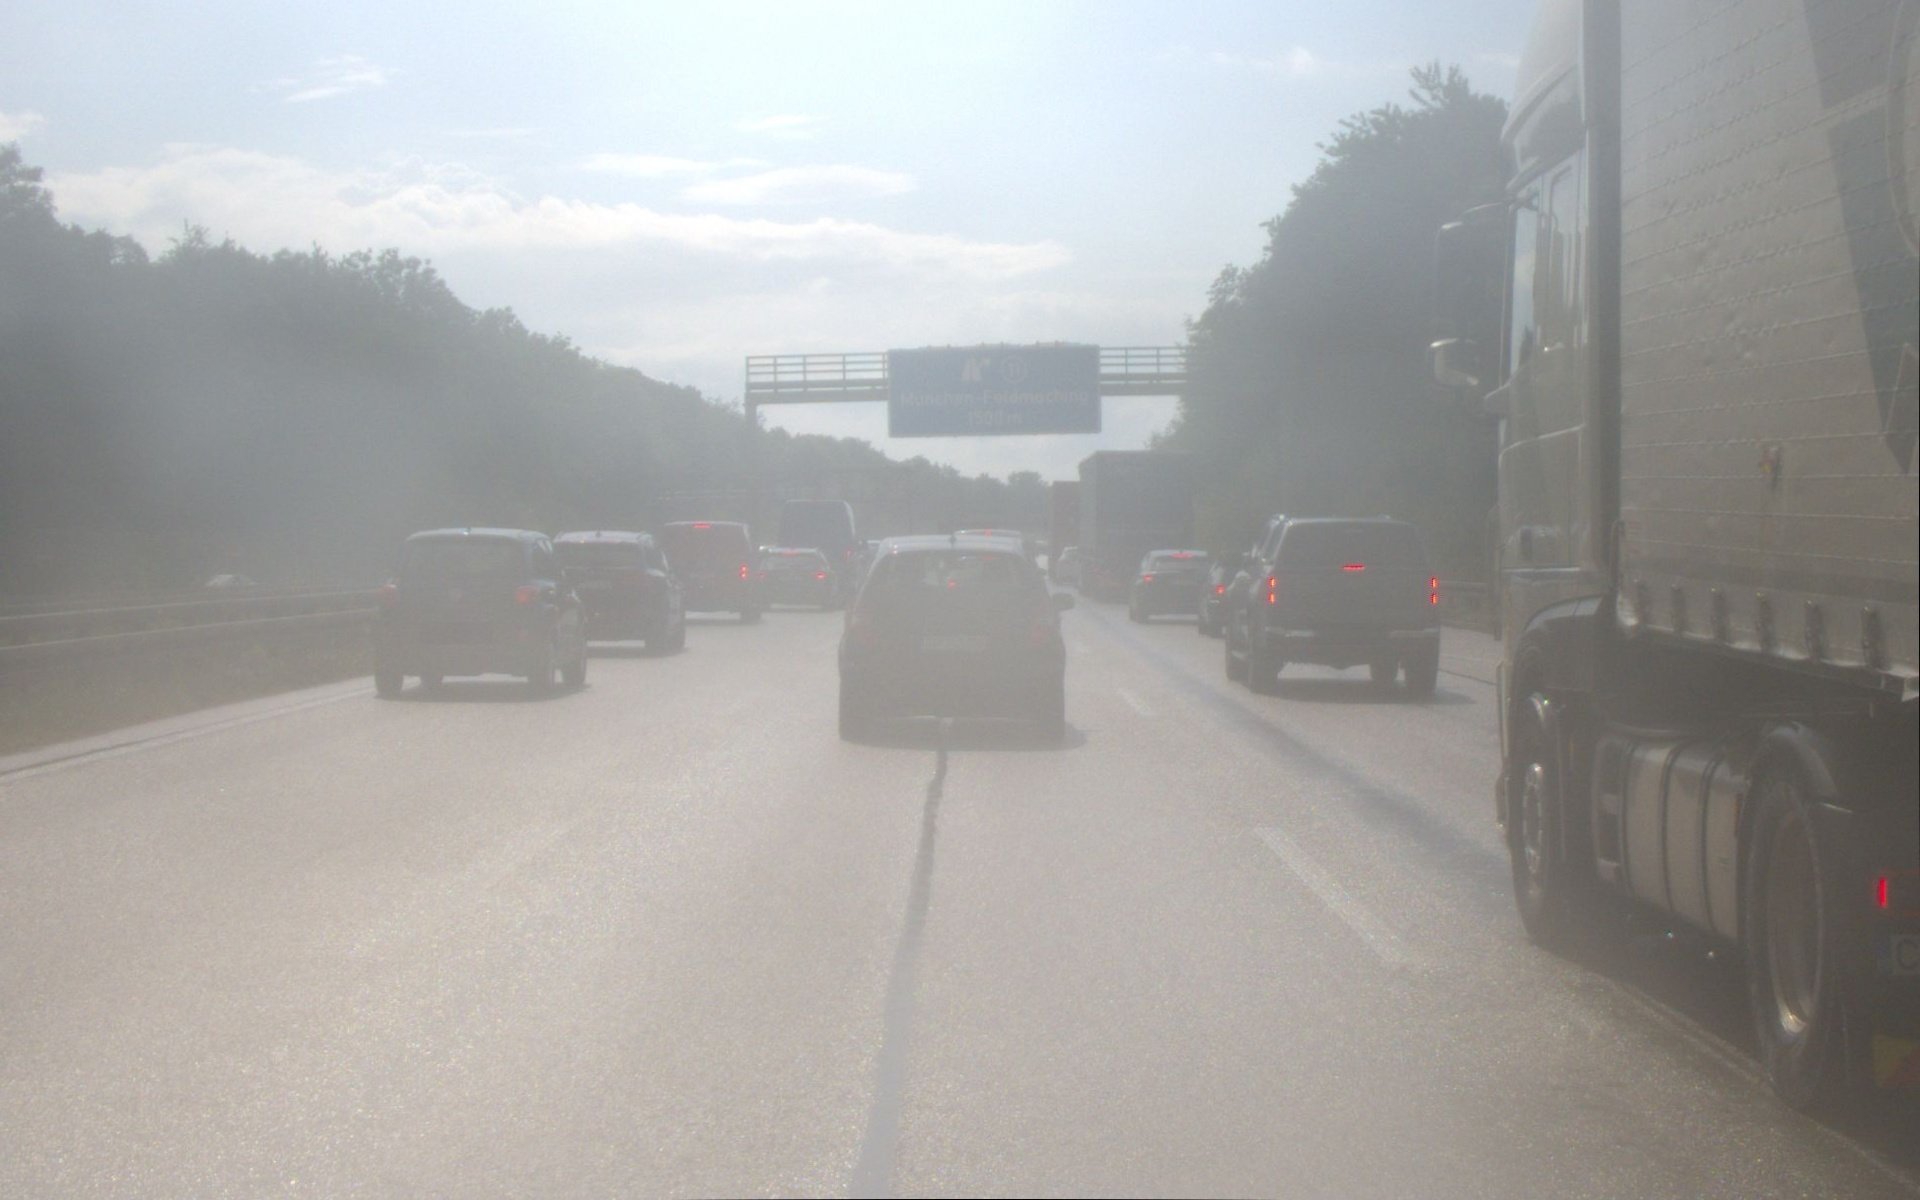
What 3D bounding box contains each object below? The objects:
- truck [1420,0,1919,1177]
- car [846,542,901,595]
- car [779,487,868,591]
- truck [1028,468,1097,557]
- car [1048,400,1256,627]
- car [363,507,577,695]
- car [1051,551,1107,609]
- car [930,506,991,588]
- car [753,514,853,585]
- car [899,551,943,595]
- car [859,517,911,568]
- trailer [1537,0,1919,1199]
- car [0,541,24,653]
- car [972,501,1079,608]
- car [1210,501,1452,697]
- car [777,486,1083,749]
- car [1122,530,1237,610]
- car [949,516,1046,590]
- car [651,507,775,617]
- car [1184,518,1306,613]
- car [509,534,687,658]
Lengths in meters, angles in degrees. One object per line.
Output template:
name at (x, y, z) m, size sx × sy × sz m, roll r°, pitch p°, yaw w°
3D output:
truck at (3.625, -0.636, 11.158) m, size 3.284 × 3.877 × 6.396 m, roll 1°, pitch 1°, yaw -1°
car at (-3.481, -1.273, 138.464) m, size 1.993 × 2.108 × 4.889 m, roll 1°, pitch 1°, yaw 1°
car at (-3.524, -1.566, 89.749) m, size 1.993 × 2.606 × 5.259 m, roll 1°, pitch 1°, yaw 1°
truck at (4.264, -3.627, 143.949) m, size 2.775 × 3.619 × 5.917 m, roll 1°, pitch 1°, yaw 1°
car at (5.178, -2.324, 97.355) m, size 4.403 × 5.810 × 16.819 m, roll 1°, pitch 1°, yaw -2°
car at (-4.931, -0.010, 35.054) m, size 1.692 × 1.798 × 3.976 m, roll 1°, pitch 1°, yaw -1°
car at (4.505, -0.770, 130.772) m, size 1.993 × 2.108 × 4.889 m, roll 1°, pitch 1°, yaw 1°
car at (0.039, -1.815, 118.512) m, size 1.993 × 2.737 × 5.259 m, roll 1°, pitch 1°, yaw 1°
car at (-3.557, -1.145, 78.670) m, size 1.993 × 1.559 × 4.756 m, roll 1°, pitch 1°, yaw 1°
car at (-1.903, -1.353, 170.121) m, size 1.993 × 2.108 × 4.889 m, roll 1°, pitch 1°, yaw 1°
car at (-3.154, -2.433, 145.836) m, size 1.993 × 2.108 × 4.889 m, roll 1°, pitch 1°, yaw 1°
trailer at (3.692, -0.502, 4.564) m, size 3.283 × 3.885 × 14.129 m, roll 1°, pitch 1°, yaw -1°
car at (-17.152, -0.047, 56.604) m, size 2.046 × 1.885 × 5.260 m, roll 1°, pitch 1°, yaw 0°
car at (1.130, -0.792, 60.580) m, size 1.692 × 1.798 × 3.976 m, roll 1°, pitch 1°, yaw -1°
car at (3.862, -0.039, 36.743) m, size 1.942 × 1.912 × 5.652 m, roll 1°, pitch 1°, yaw 0°
car at (-0.266, 0.109, 28.205) m, size 2.274 × 1.948 × 4.821 m, roll 1°, pitch 1°, yaw -1°
car at (4.287, -0.596, 67.599) m, size 1.864 × 1.511 × 3.976 m, roll 1°, pitch 1°, yaw -2°
car at (0.767, -0.983, 72.593) m, size 1.864 × 1.511 × 3.976 m, roll 1°, pitch 1°, yaw -2°
car at (-4.759, -0.742, 66.815) m, size 1.978 × 2.047 × 4.756 m, roll 1°, pitch 1°, yaw 1°
car at (4.720, -0.574, 57.283) m, size 1.590 × 1.511 × 3.976 m, roll 1°, pitch 1°, yaw -1°
car at (-4.981, -0.075, 47.833) m, size 1.909 × 1.631 × 4.617 m, roll 0°, pitch 1°, yaw 1°
